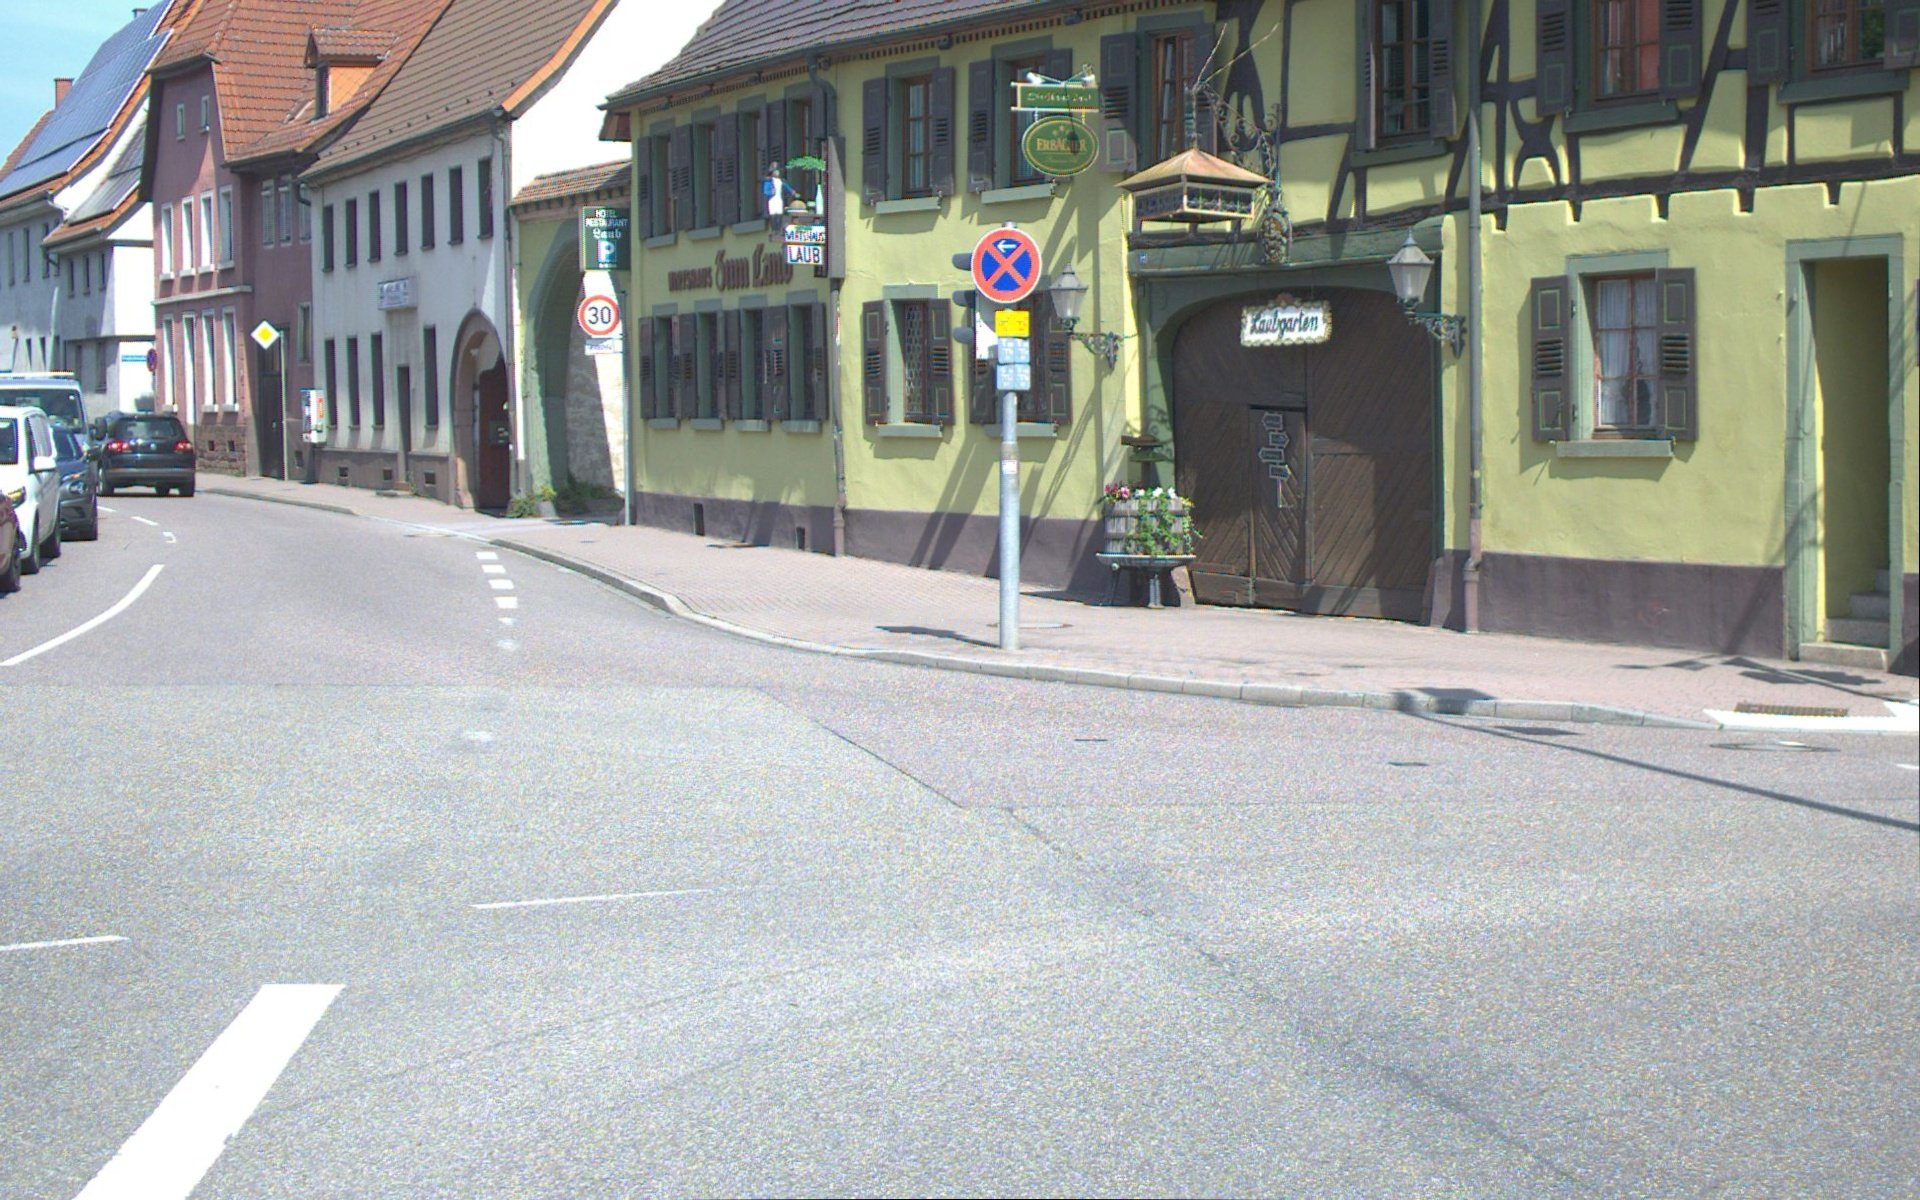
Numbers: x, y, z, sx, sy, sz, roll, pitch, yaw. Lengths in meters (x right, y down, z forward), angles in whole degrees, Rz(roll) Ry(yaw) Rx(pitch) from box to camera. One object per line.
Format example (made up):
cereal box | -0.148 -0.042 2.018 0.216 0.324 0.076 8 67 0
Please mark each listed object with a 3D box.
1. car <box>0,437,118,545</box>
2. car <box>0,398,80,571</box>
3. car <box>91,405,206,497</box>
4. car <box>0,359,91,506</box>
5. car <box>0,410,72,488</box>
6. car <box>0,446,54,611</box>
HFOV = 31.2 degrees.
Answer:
car | -12.619 -1.532 47.272 1.574 1.379 3.561 1 2 -21
car | -11.364 -1.407 40.121 1.820 1.899 4.966 0 3 -11
car | -16.054 -2.957 67.883 1.820 1.732 4.007 -2 3 -18
car | -15.196 -2.709 55.392 1.757 2.238 4.554 1 2 -21
car | -19.153 -3.096 69.990 1.785 1.521 4.007 -2 3 -18
car | -10.368 -0.741 33.930 2.158 1.510 4.949 0 3 -8
